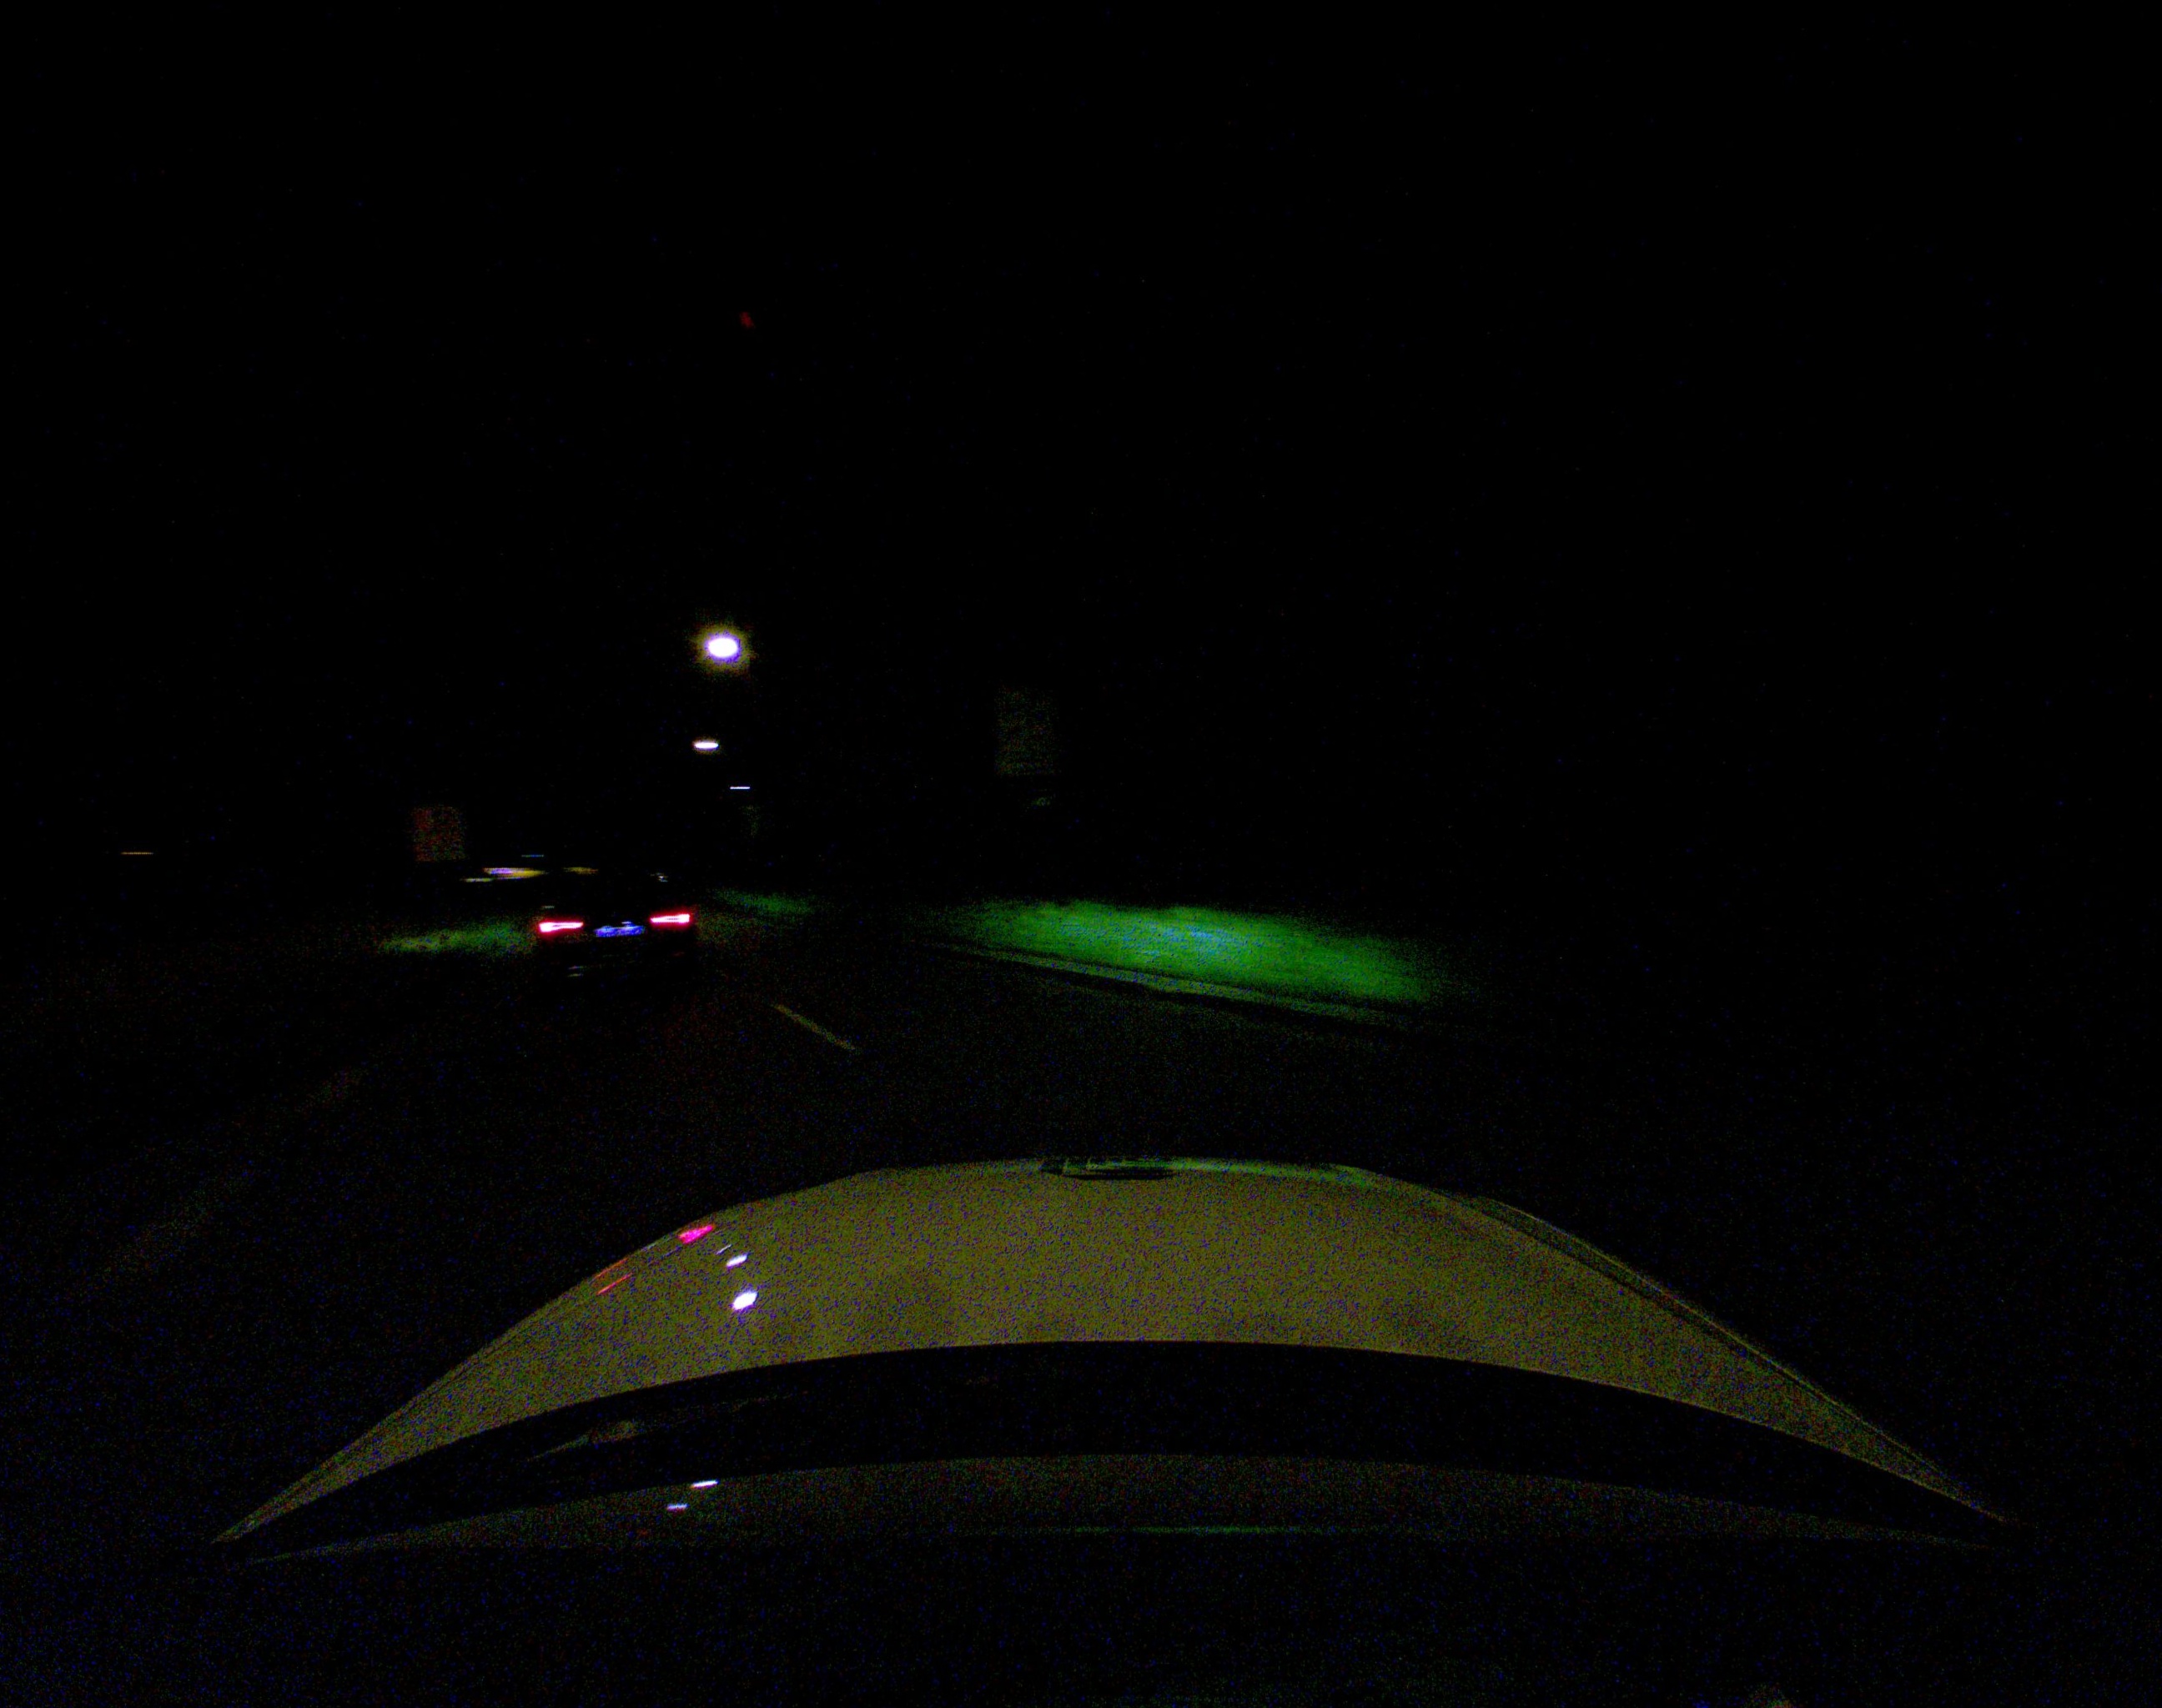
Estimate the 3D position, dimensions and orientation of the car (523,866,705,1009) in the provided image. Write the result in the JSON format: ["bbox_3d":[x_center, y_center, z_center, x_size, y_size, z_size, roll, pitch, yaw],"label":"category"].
[{"bbox_3d":[-6.617,1.024,11.526,1.864,1.582,3.966,-2,-1,-31],"label":"car"}]
